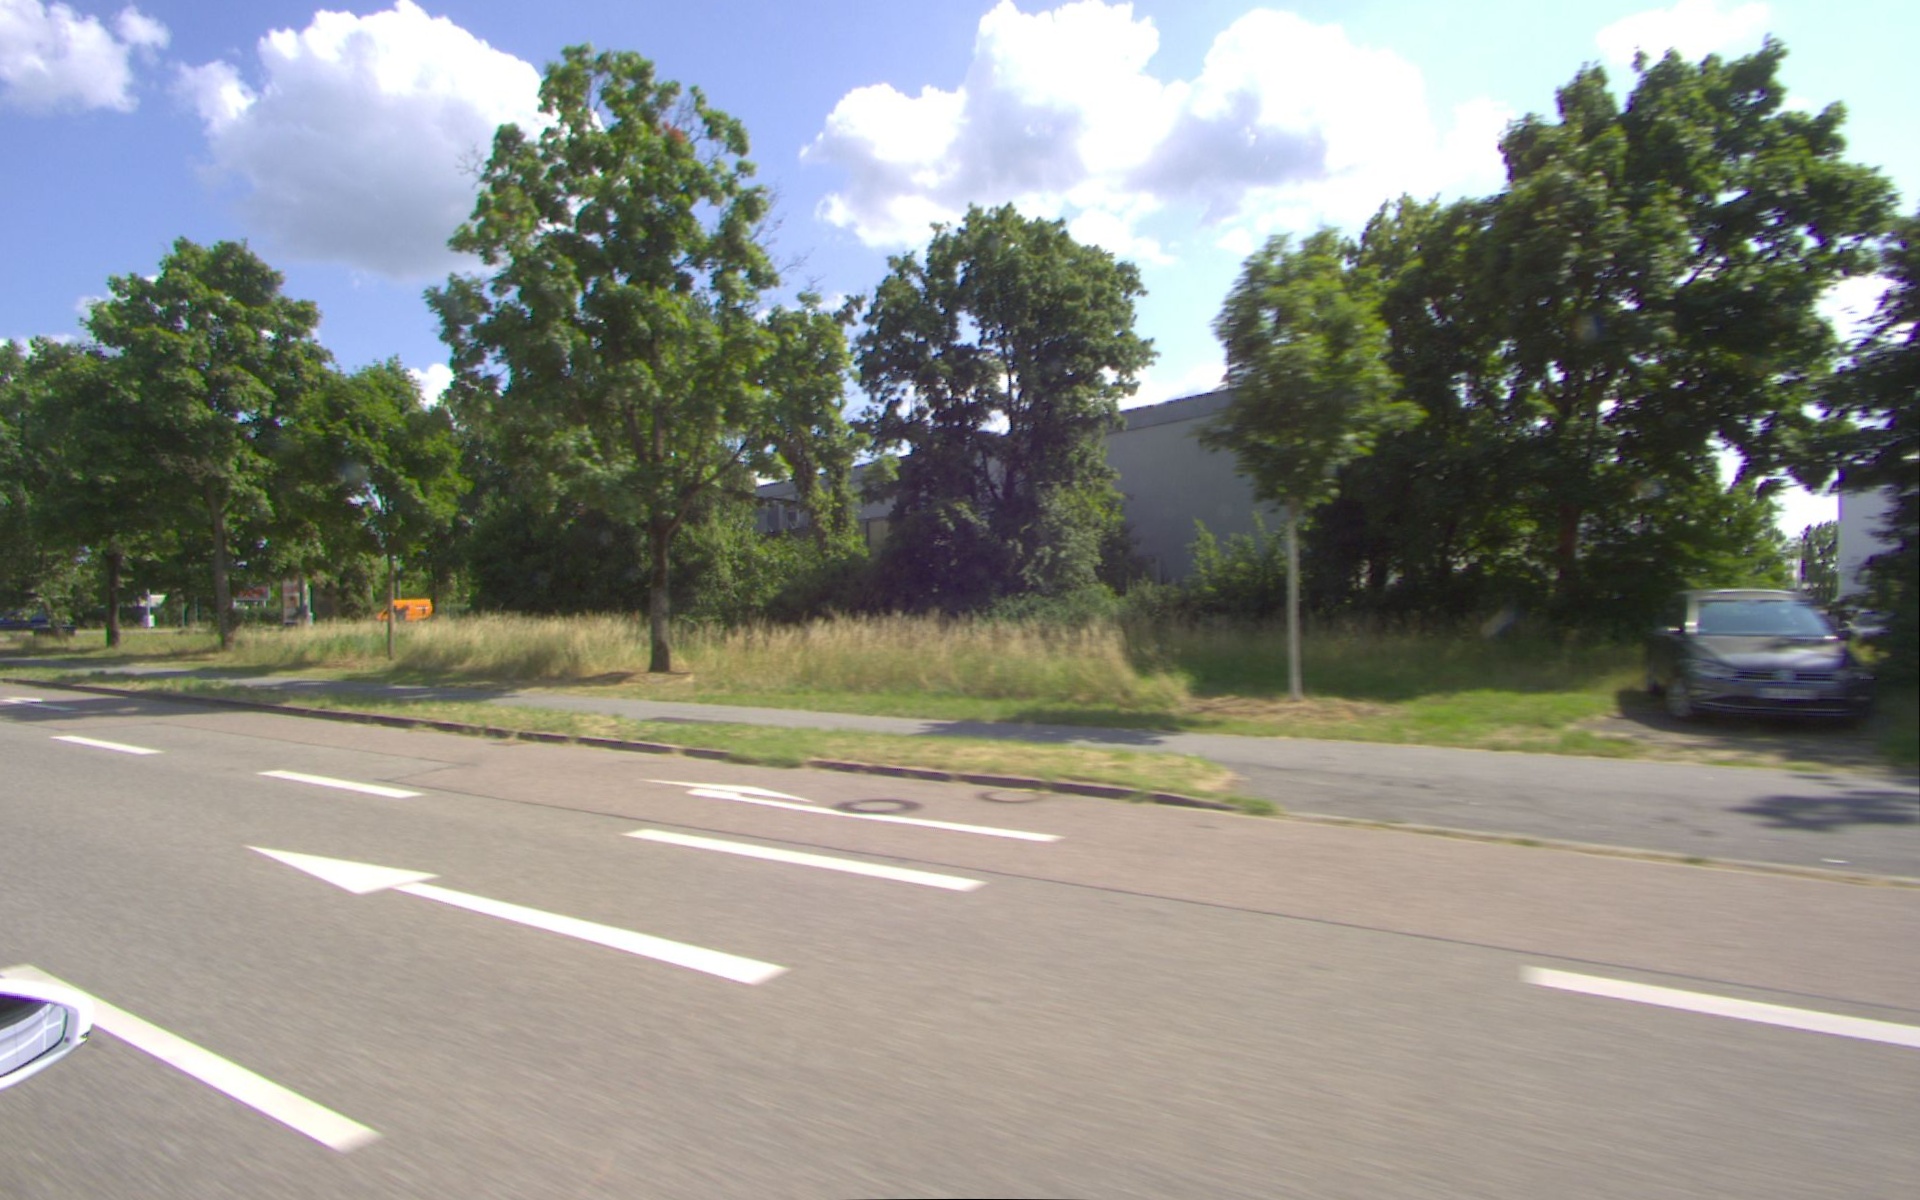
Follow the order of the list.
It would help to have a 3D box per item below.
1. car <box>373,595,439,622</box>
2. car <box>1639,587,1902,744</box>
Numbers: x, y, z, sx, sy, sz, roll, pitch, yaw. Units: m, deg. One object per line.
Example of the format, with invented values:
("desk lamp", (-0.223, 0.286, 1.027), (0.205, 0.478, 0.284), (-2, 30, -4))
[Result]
("car", (-50.293, 0.776, 90.968), (4.813, 2.253, 2.191), (3, -3, -43))
("car", (10.089, 0.666, 12.841), (1.756, 1.514, 4.157), (2, 3, 27))
